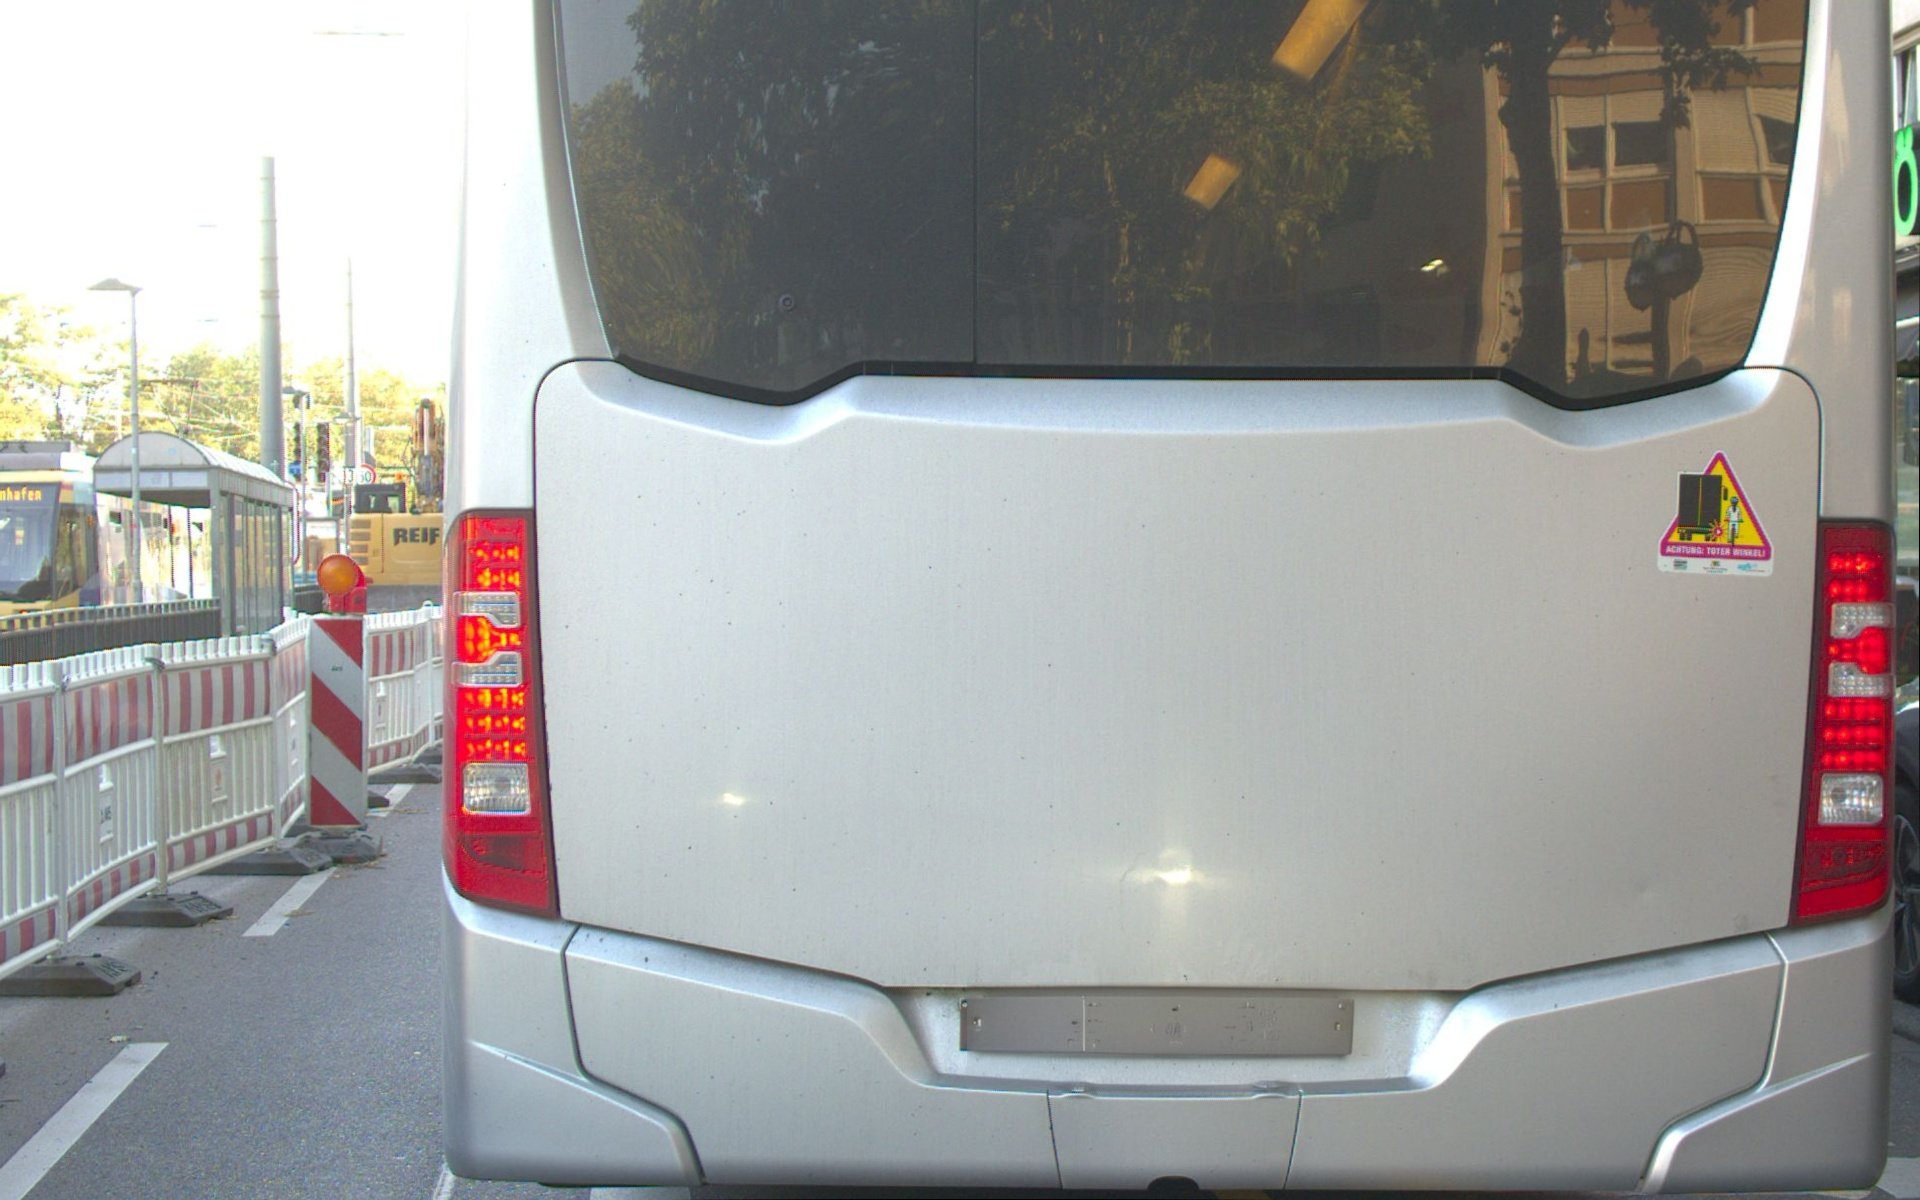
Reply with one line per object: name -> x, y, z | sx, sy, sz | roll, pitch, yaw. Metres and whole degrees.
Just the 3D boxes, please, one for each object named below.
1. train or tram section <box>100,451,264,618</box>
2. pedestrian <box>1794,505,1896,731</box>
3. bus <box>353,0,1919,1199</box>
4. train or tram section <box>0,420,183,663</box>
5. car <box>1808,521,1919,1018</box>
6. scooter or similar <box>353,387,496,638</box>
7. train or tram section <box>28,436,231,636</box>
train or tram section -> -17.735, -1.460, 78.964 | 2.686, 3.521, 11.585 | 1, 1, -8
pedestrian -> 6.675, 0.129, 25.917 | 0.664, 1.661, 0.600 | -2, 0, 16
bus -> 0.313, -0.207, 9.509 | 2.611, 3.115, 7.993 | 1, 1, -1
train or tram section -> -14.738, -0.922, 55.850 | 2.686, 3.521, 11.774 | 1, 1, -6
car -> 4.146, 0.528, 9.770 | 1.993, 1.576, 4.369 | -3, 1, -5
scooter or similar -> -9.974, -1.601, 64.406 | 2.468, 4.455, 5.974 | -1, 1, -8
train or tram section -> -16.133, -1.214, 67.516 | 2.686, 3.546, 11.585 | 1, 1, -8
